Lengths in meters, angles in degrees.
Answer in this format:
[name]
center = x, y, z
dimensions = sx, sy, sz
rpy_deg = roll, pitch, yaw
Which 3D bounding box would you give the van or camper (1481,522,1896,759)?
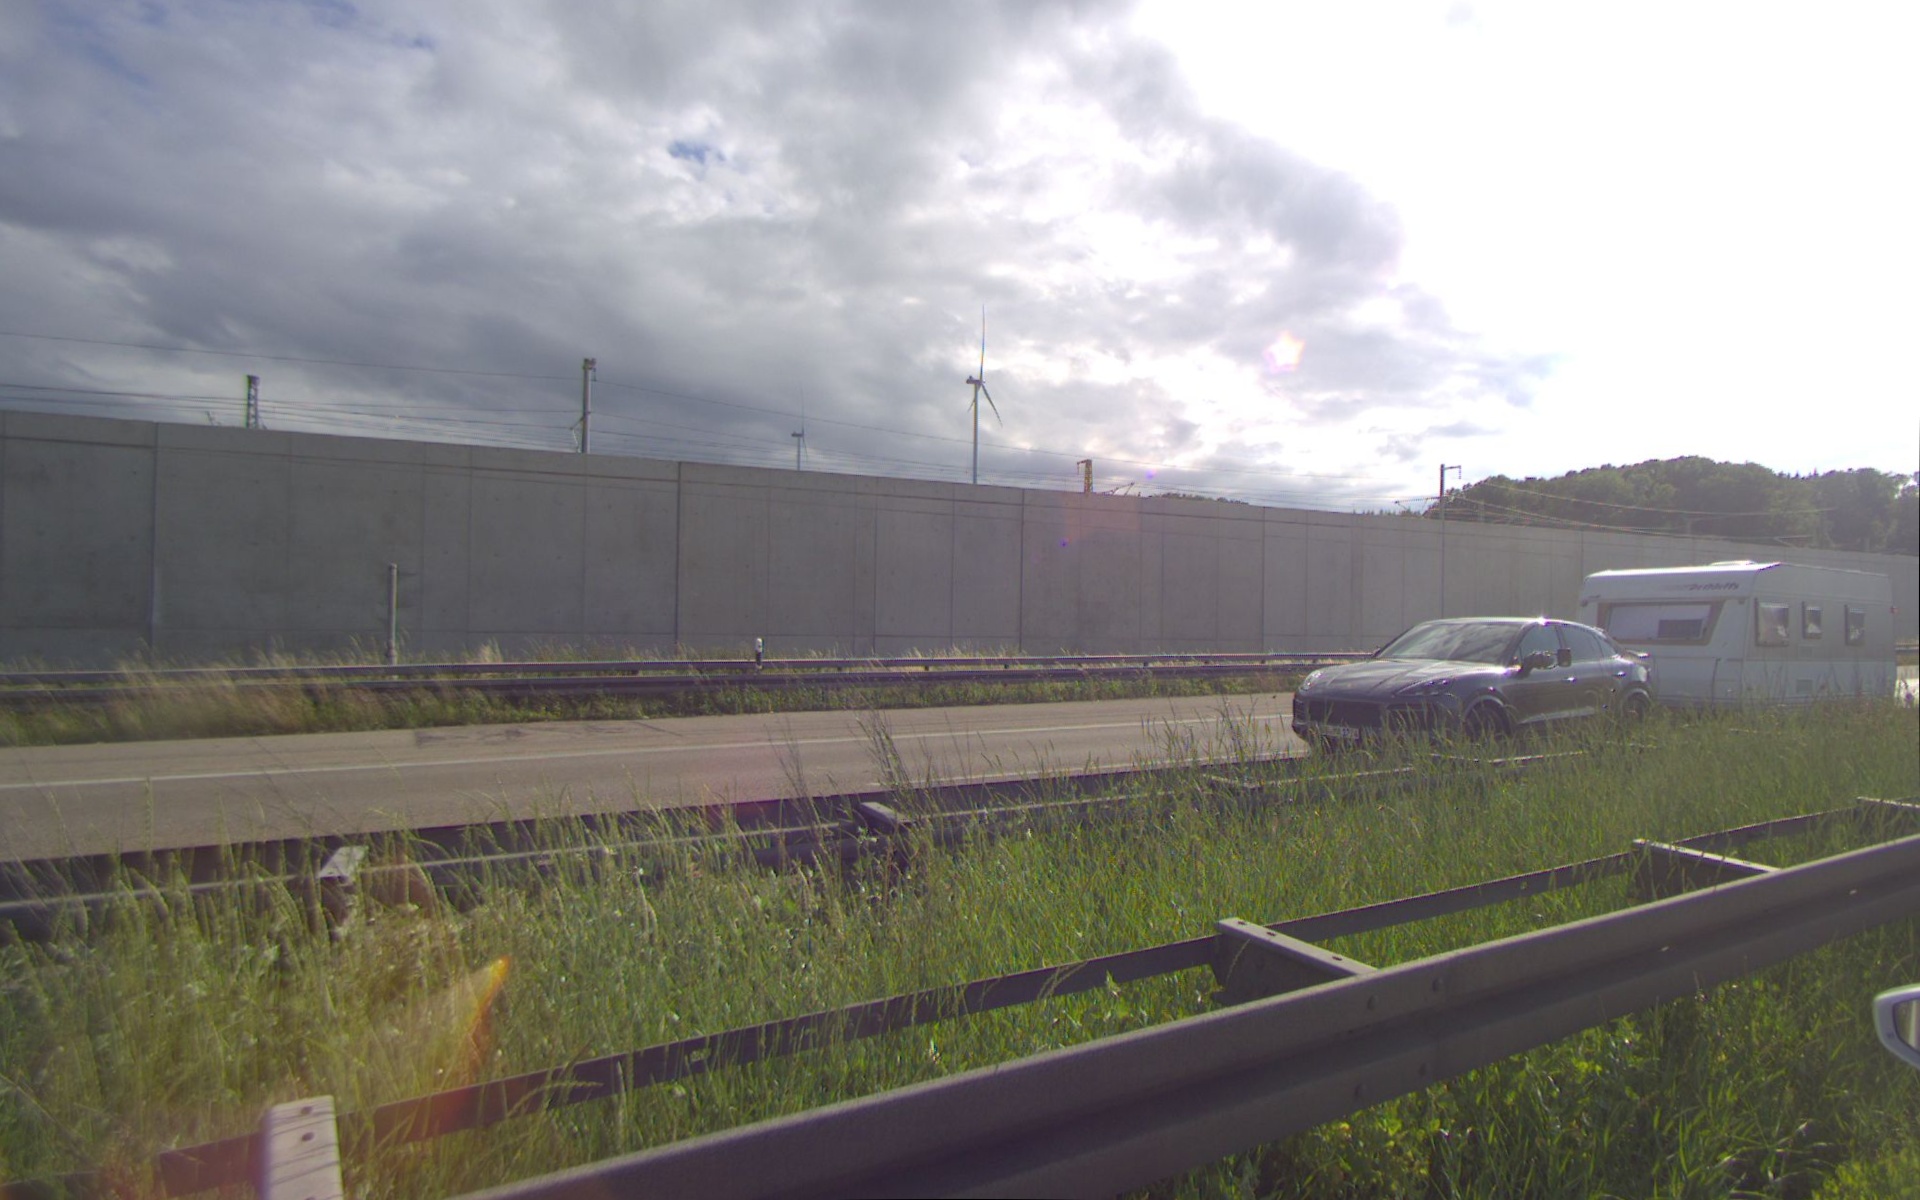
[van or camper]
center = 10.631, 0.554, 14.407
dimensions = 7.088, 2.740, 2.241
rpy_deg = 2, -1, -31

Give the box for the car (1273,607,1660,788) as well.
[car]
center = 5.765, 0.968, 11.325
dimensions = 4.312, 1.693, 1.901
rpy_deg = 2, -1, -31
